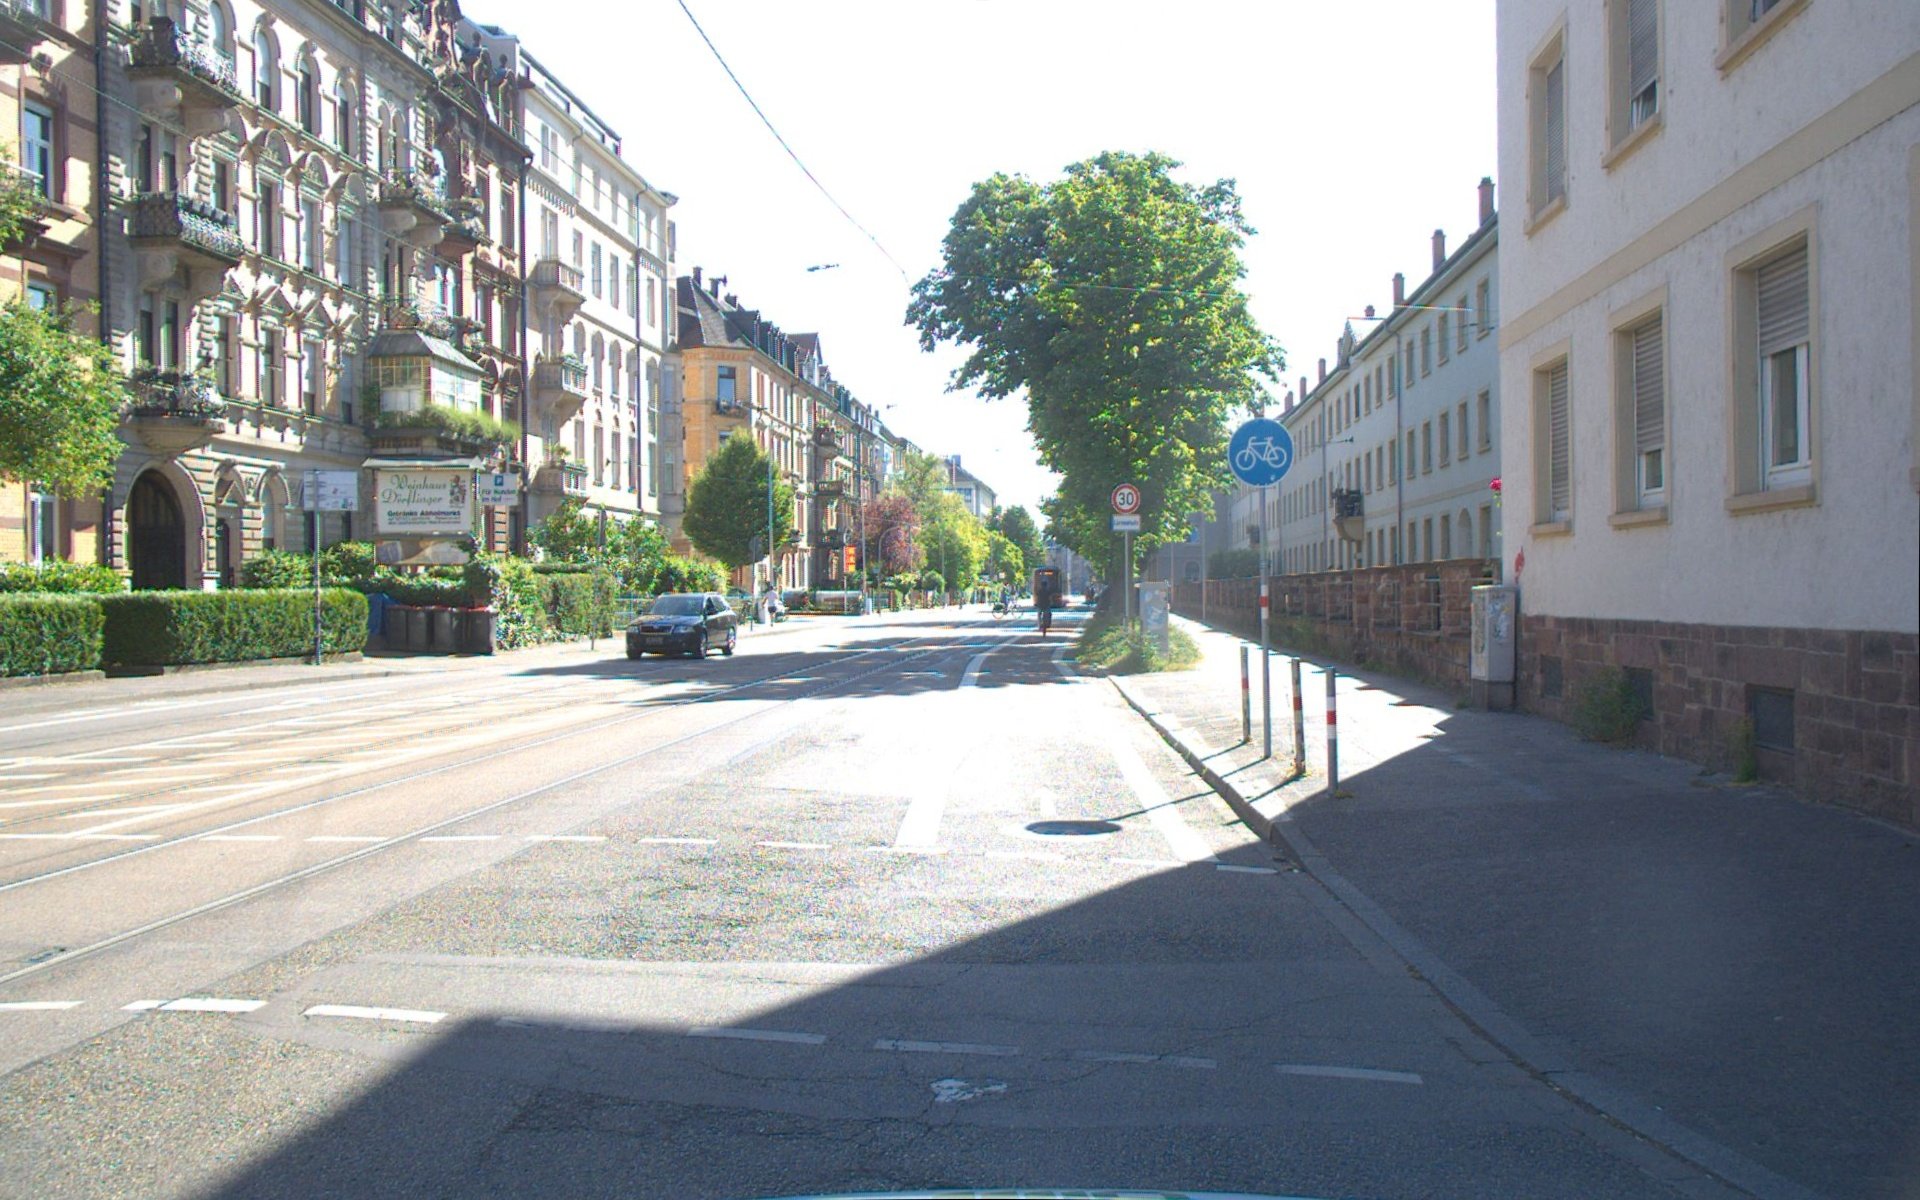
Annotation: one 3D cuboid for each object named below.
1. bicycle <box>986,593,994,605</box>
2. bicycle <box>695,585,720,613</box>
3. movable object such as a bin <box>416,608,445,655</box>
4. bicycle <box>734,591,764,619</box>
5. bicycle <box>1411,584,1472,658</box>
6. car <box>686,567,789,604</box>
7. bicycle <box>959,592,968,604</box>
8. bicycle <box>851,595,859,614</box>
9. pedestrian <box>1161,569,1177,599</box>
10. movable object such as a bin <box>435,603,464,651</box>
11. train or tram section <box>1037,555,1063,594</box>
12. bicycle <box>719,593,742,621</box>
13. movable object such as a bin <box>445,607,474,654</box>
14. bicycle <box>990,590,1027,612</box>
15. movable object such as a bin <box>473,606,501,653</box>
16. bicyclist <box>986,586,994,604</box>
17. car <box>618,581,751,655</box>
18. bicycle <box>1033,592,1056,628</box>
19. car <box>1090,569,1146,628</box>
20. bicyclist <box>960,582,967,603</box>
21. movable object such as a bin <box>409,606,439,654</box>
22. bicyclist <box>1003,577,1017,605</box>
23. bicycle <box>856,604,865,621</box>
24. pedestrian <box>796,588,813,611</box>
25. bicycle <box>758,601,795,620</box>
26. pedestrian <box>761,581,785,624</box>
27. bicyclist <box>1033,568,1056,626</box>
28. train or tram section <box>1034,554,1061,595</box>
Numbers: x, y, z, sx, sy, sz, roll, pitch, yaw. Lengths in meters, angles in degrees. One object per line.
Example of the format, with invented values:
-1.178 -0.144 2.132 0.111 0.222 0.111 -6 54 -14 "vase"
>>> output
3.045 -0.132 166.415 0.677 1.132 1.720 -2 0 5 "bicycle"
-9.715 -0.041 63.654 0.551 1.051 1.769 1 1 4 "bicycle"
-12.670 0.747 39.614 0.469 1.105 0.541 1 0 7 "movable object such as a bin"
-8.684 0.202 68.088 0.557 1.051 1.749 0 2 -31 "bicycle"
7.504 0.305 25.808 0.449 1.111 1.672 1 1 0 "bicycle"
-10.273 -0.671 76.559 4.351 1.672 1.968 1 0 8 "car"
0.291 -0.184 137.577 0.450 0.942 2.204 -2 0 5 "bicycle"
-6.480 0.262 102.275 0.363 1.146 0.809 1 1 5 "bicycle"
12.117 -0.914 95.877 0.750 1.754 0.578 1 1 34 "pedestrian"
-12.043 0.636 39.010 0.469 1.105 0.541 1 0 7 "movable object such as a bin"
8.307 -2.367 152.480 2.108 3.491 6.615 1 1 5 "train or tram section"
-9.280 0.269 66.821 0.554 1.051 1.758 3 1 -19 "bicycle"
-11.975 0.718 39.596 0.469 1.105 0.541 1 0 7 "movable object such as a bin"
2.577 0.038 87.759 1.877 1.132 0.692 1 1 -11 "bicycle"
-11.368 0.704 39.789 0.469 1.105 0.541 1 0 7 "movable object such as a bin"
3.041 -0.507 166.414 0.646 1.833 0.616 -3 0 5 "bicyclist"
-6.299 0.350 38.377 1.793 1.544 4.970 2 1 5 "car"
2.798 0.314 54.625 0.677 1.132 1.720 1 1 5 "bicycle"
5.085 -0.085 53.522 1.707 1.797 4.480 1 1 4 "car"
0.284 -0.623 137.503 0.454 1.646 0.745 -3 0 5 "bicyclist"
-12.651 0.707 39.040 0.469 1.105 0.541 1 0 7 "movable object such as a bin"
2.647 -0.493 87.789 0.602 1.493 0.636 1 0 -10 "bicyclist"
-6.207 0.753 103.199 0.328 1.018 1.871 1 1 5 "bicycle"
-9.669 -0.033 103.021 0.882 1.376 0.577 -3 0 6 "pedestrian"
-9.117 0.511 82.187 1.764 0.930 0.614 0 -1 -31 "bicycle"
-7.776 0.108 68.840 0.812 1.754 1.083 1 -1 3 "pedestrian"
2.799 -0.105 54.554 0.712 1.880 0.837 1 0 4 "bicyclist"
7.756 -2.275 145.879 2.108 3.491 6.615 1 1 5 "train or tram section"
